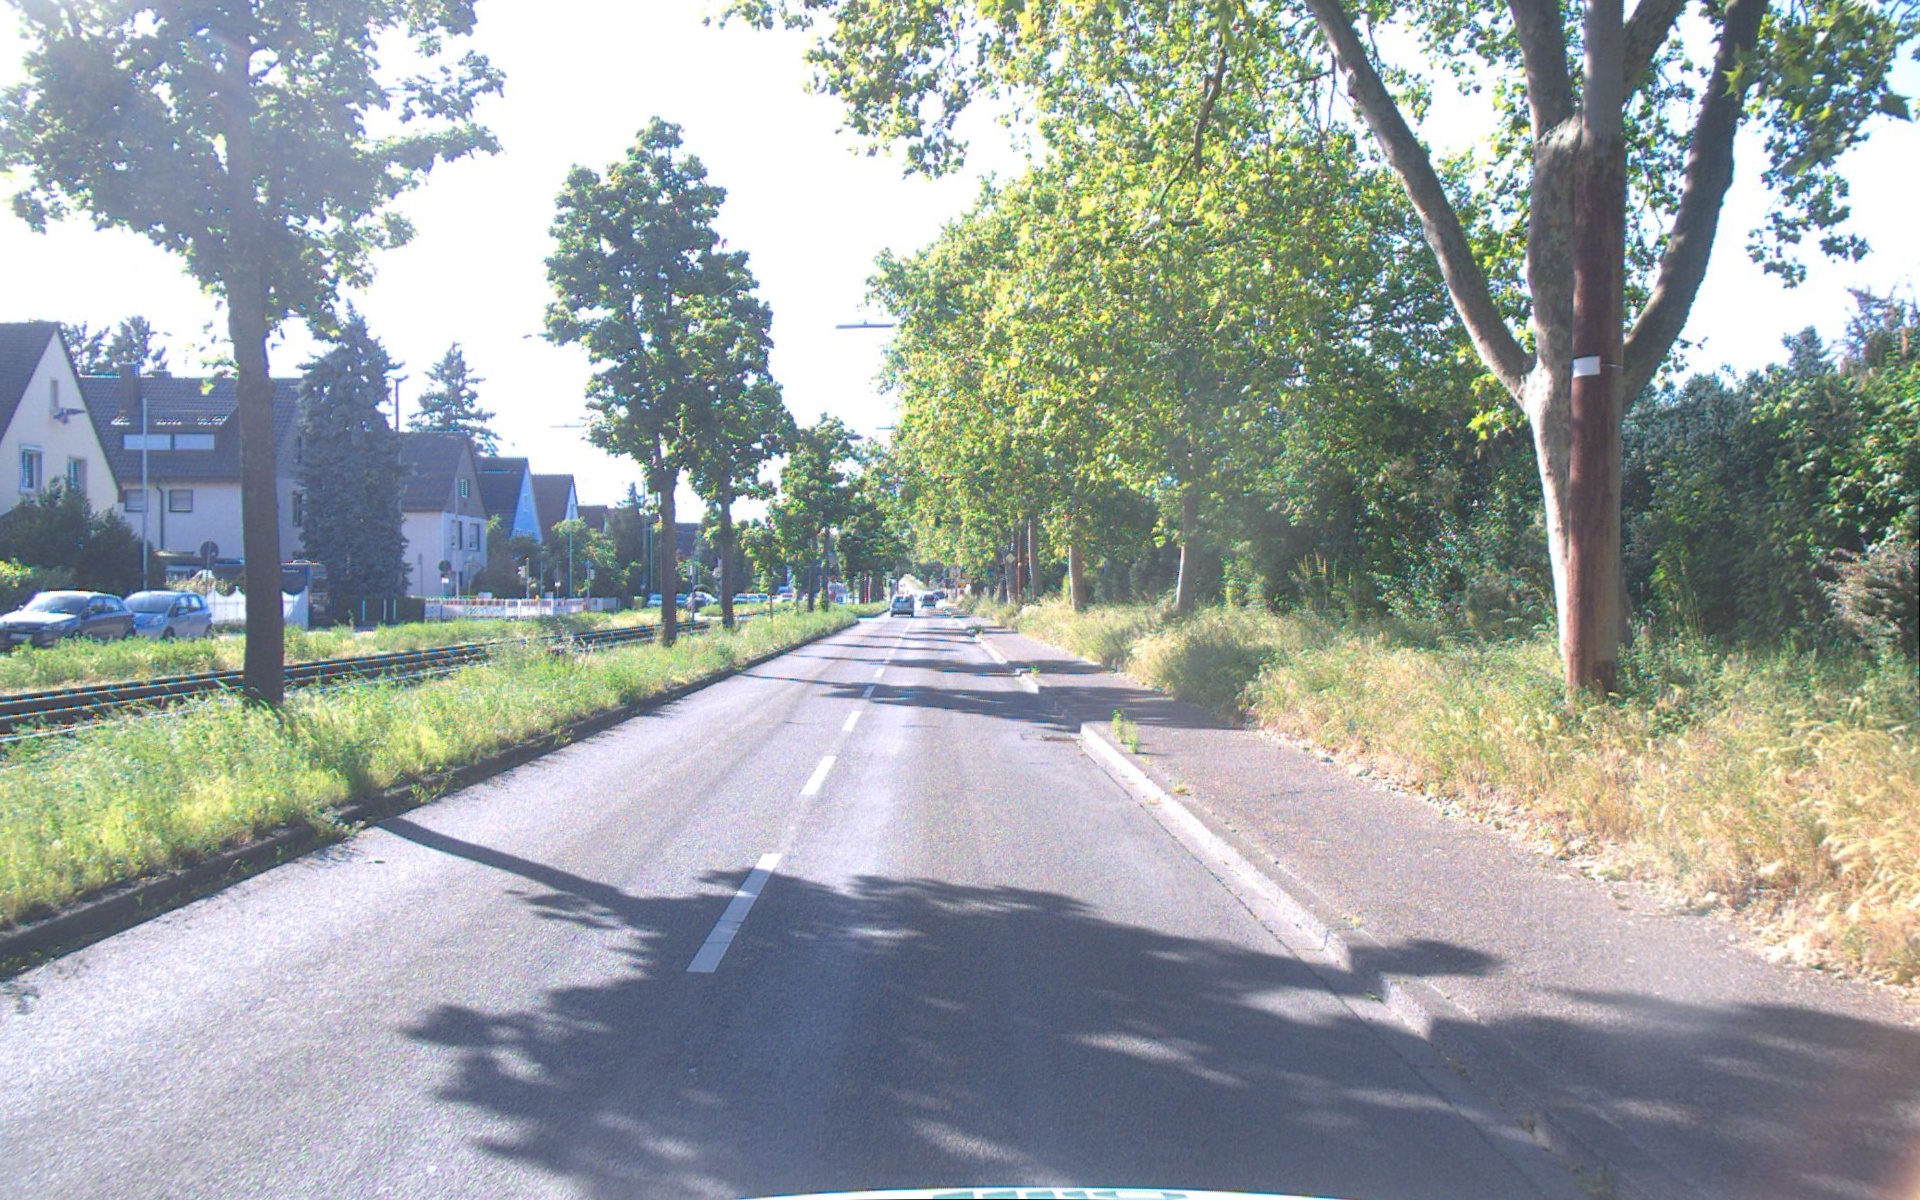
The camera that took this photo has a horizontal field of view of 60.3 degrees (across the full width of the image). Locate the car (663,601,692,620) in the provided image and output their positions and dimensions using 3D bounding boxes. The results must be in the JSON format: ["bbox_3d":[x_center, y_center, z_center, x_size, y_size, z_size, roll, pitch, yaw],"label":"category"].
[{"bbox_3d":[-23.395,0.839,136.954,1.694,1.491,4.601,1,0,-2],"label":"car"}]

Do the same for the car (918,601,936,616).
[{"bbox_3d":[-3.787,0.929,187.027,1.953,1.631,4.472,1,0,-2],"label":"car"}]

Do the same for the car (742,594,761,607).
[{"bbox_3d":[-24.760,0.026,196.278,1.822,1.456,4.460,1,0,-2],"label":"car"}]

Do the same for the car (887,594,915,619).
[{"bbox_3d":[-3.978,0.411,112.414,1.822,1.629,4.226,1,0,-2],"label":"car"}]

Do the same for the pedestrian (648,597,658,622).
[{"bbox_3d":[-25.819,0.780,138.962,0.667,2.049,0.772,1,0,-2],"label":"pedestrian"}]

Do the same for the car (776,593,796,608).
[{"bbox_3d":[-20.303,0.062,193.646,1.953,1.631,4.472,1,0,-2],"label":"car"}]

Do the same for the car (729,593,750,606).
[{"bbox_3d":[-24.801,-0.032,186.298,1.822,1.438,4.157,1,0,-2],"label":"car"}]

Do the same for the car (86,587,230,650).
[{"bbox_3d":[-21.405,0.477,44.342,1.907,1.580,4.055,1,0,-1],"label":"car"}]

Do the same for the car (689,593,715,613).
[{"bbox_3d":[-23.113,0.276,148.318,1.712,1.679,4.554,1,0,-2],"label":"car"}]

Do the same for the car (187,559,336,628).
[{"bbox_3d":[-27.479,-0.249,65.190,4.927,2.671,2.102,0,1,-2],"label":"car"}]

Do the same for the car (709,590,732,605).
[{"bbox_3d":[-24.264,-0.234,167.630,1.822,1.393,4.226,1,0,-2],"label":"car"}]

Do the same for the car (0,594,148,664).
[{"bbox_3d":[-21.401,0.659,39.511,1.953,1.475,4.126,3,0,-1],"label":"car"}]

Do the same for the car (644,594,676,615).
[{"bbox_3d":[-23.210,0.362,128.089,1.822,1.569,4.226,1,0,-2],"label":"car"}]
